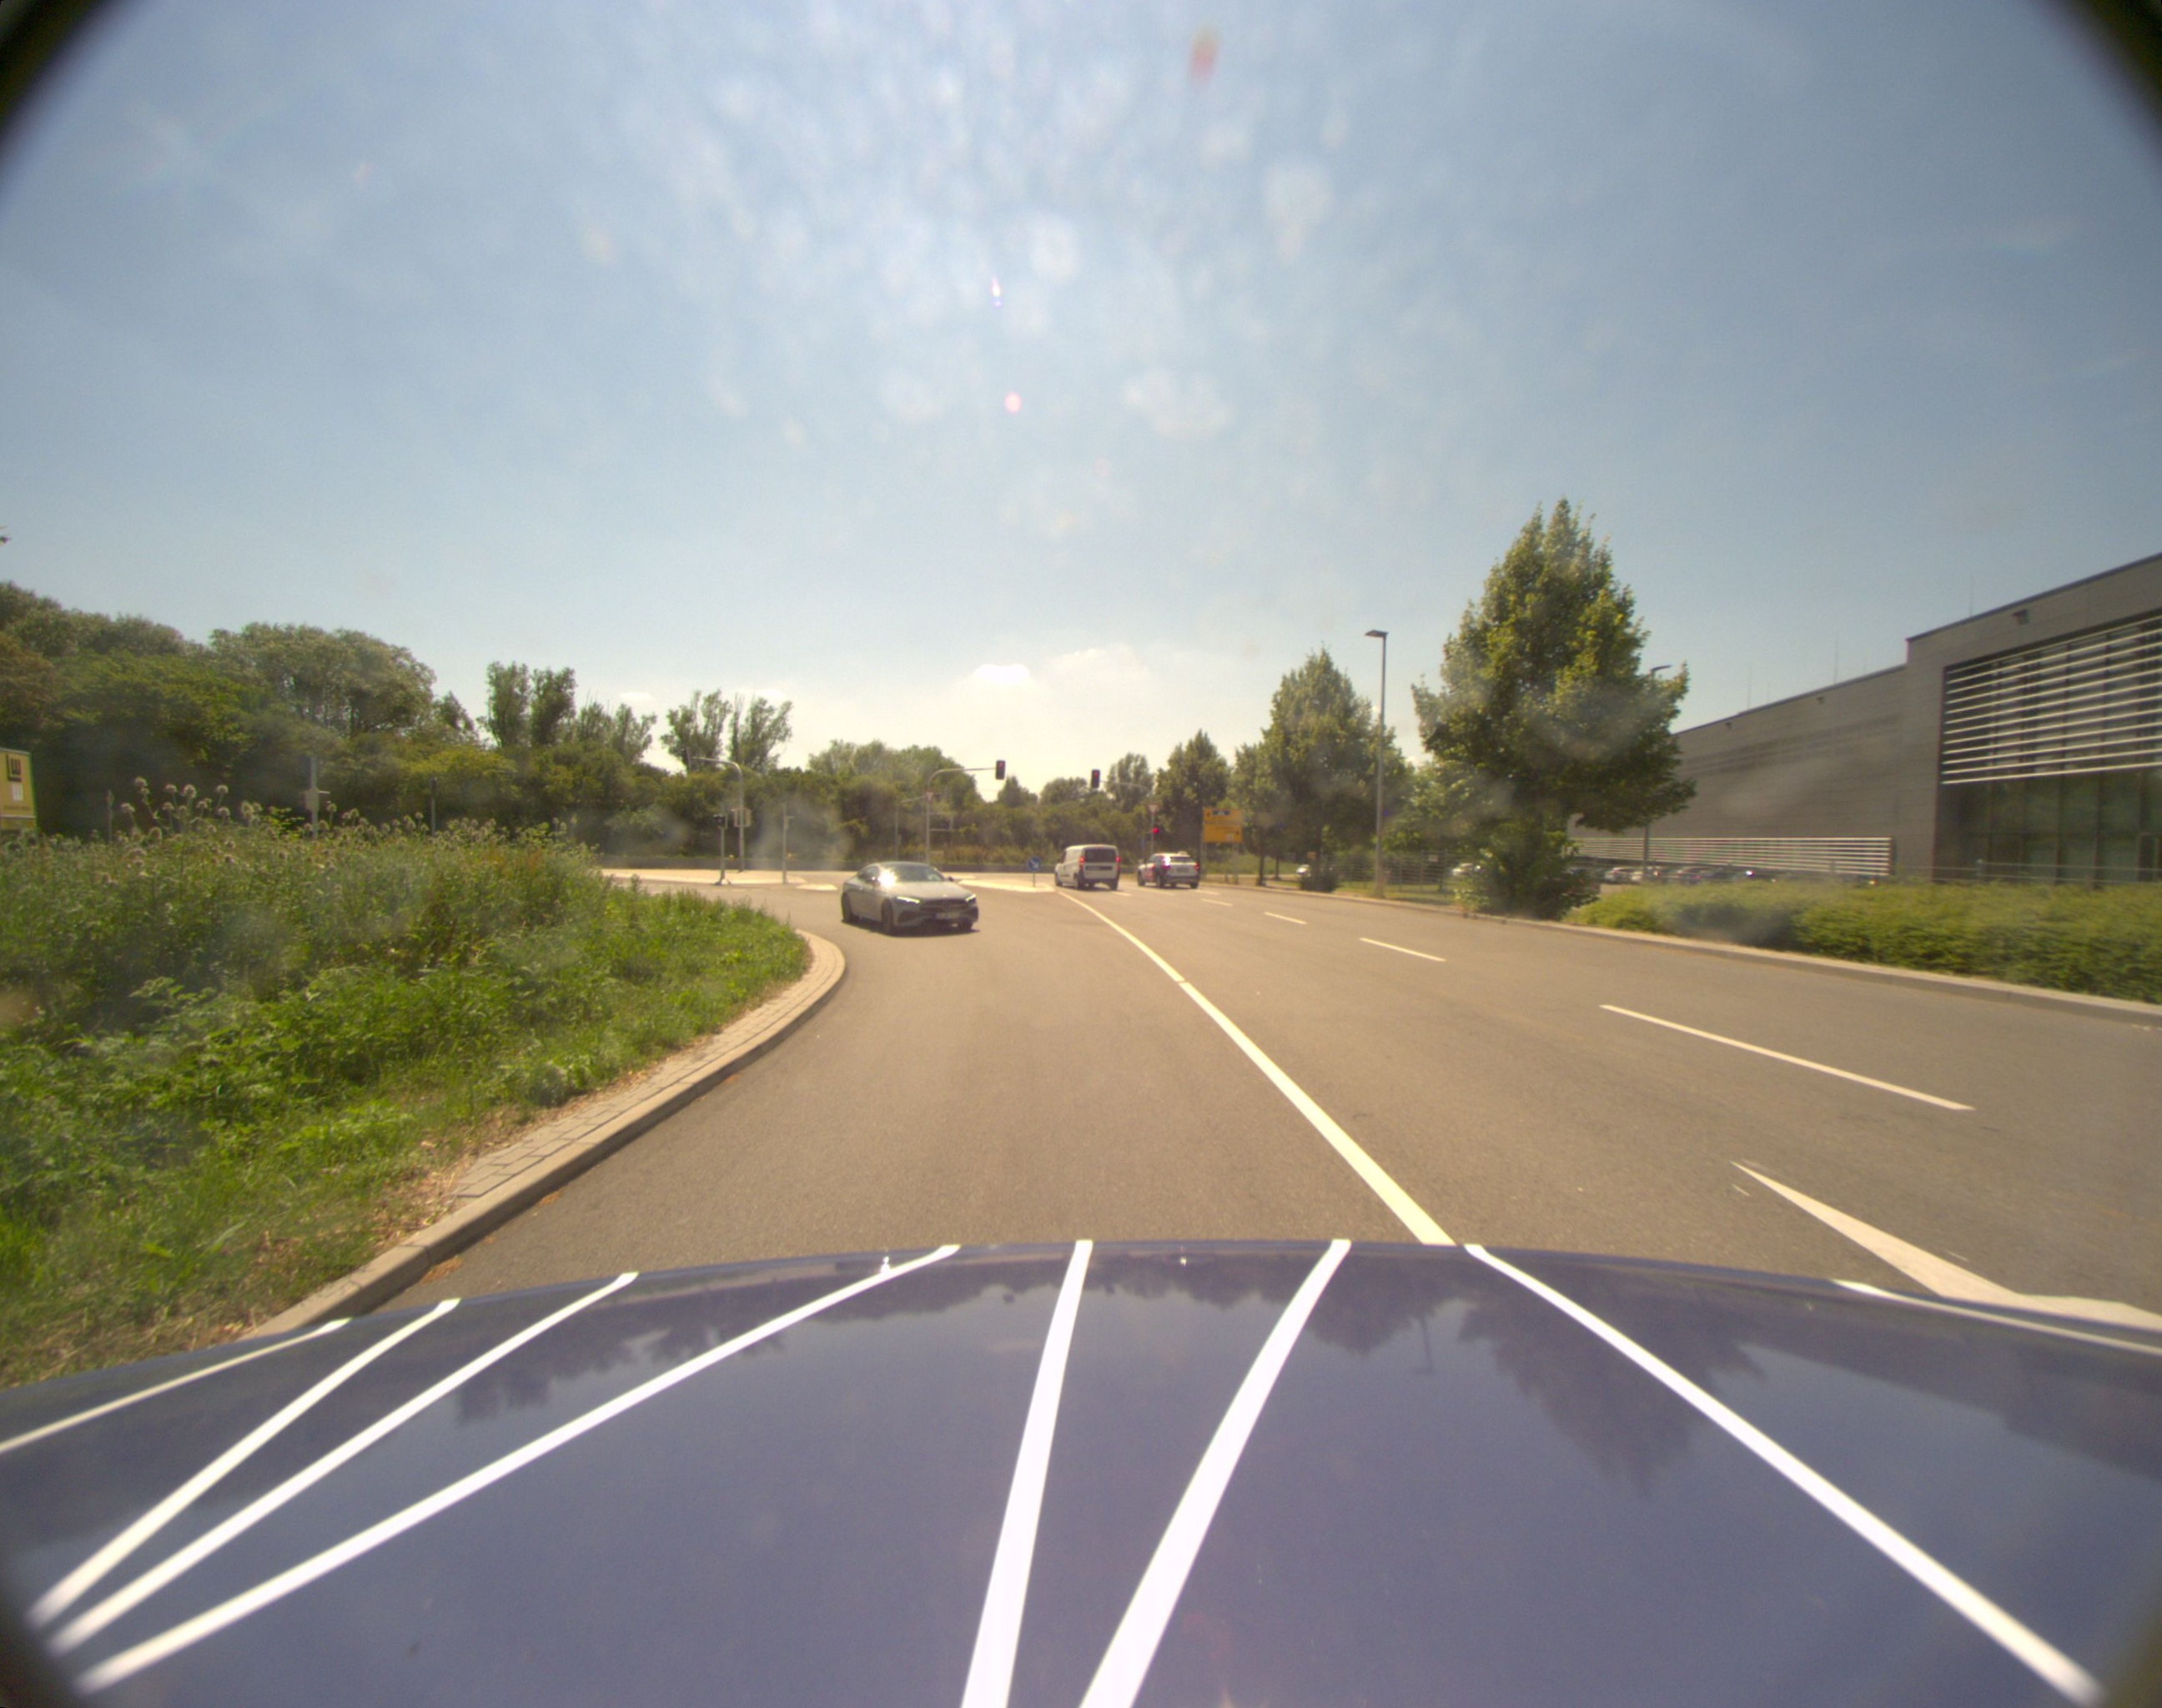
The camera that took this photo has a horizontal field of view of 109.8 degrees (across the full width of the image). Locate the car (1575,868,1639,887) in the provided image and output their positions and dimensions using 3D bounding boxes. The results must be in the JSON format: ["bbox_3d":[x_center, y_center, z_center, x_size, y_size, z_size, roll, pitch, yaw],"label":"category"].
[{"bbox_3d":[44.692,2.001,64.671,3.992,1.477,2.003,2,-1,13],"label":"car"}]

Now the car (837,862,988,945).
[{"bbox_3d":[-3.893,0.966,16.892,1.926,1.434,4.470,-2,2,-31],"label":"car"}]

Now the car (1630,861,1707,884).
[{"bbox_3d":[42.586,1.351,55.170,3.992,1.451,1.774,2,-1,13],"label":"car"}]

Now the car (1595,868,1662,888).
[{"bbox_3d":[44.591,1.942,61.974,3.992,1.477,2.003,2,-1,13],"label":"car"}]

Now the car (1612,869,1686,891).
[{"bbox_3d":[43.211,1.939,57.871,3.992,1.477,2.003,2,-1,13],"label":"car"}]

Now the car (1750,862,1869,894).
[{"bbox_3d":[37.839,1.230,39.593,3.992,1.477,2.003,2,-1,13],"label":"car"}]

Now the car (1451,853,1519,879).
[{"bbox_3d":[29.493,0.892,55.622,3.992,1.695,2.003,2,-1,13],"label":"car"}]

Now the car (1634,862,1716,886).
[{"bbox_3d":[41.321,1.391,52.970,3.992,1.477,2.003,2,-1,13],"label":"car"}]

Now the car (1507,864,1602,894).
[{"bbox_3d":[25.917,1.349,41.718,3.992,1.477,2.003,2,-1,13],"label":"car"}]

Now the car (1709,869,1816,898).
[{"bbox_3d":[38.173,1.642,42.661,3.992,1.477,2.003,2,-1,13],"label":"car"}]

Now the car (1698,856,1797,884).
[{"bbox_3d":[39.191,0.937,44.777,3.992,1.519,1.822,2,-1,13],"label":"car"}]

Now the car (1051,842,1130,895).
[{"bbox_3d":[0.303,0.539,32.687,2.001,1.932,4.862,-3,3,-16],"label":"car"}]

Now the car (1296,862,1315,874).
[{"bbox_3d":[36.056,2.322,121.971,1.994,1.772,4.009,2,-1,29],"label":"car"}]

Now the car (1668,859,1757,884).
[{"bbox_3d":[41.015,1.142,49.457,3.992,1.508,1.922,2,-1,13],"label":"car"}]

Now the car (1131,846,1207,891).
[{"bbox_3d":[3.839,0.579,33.840,2.001,1.698,3.858,-3,3,-16],"label":"car"}]
